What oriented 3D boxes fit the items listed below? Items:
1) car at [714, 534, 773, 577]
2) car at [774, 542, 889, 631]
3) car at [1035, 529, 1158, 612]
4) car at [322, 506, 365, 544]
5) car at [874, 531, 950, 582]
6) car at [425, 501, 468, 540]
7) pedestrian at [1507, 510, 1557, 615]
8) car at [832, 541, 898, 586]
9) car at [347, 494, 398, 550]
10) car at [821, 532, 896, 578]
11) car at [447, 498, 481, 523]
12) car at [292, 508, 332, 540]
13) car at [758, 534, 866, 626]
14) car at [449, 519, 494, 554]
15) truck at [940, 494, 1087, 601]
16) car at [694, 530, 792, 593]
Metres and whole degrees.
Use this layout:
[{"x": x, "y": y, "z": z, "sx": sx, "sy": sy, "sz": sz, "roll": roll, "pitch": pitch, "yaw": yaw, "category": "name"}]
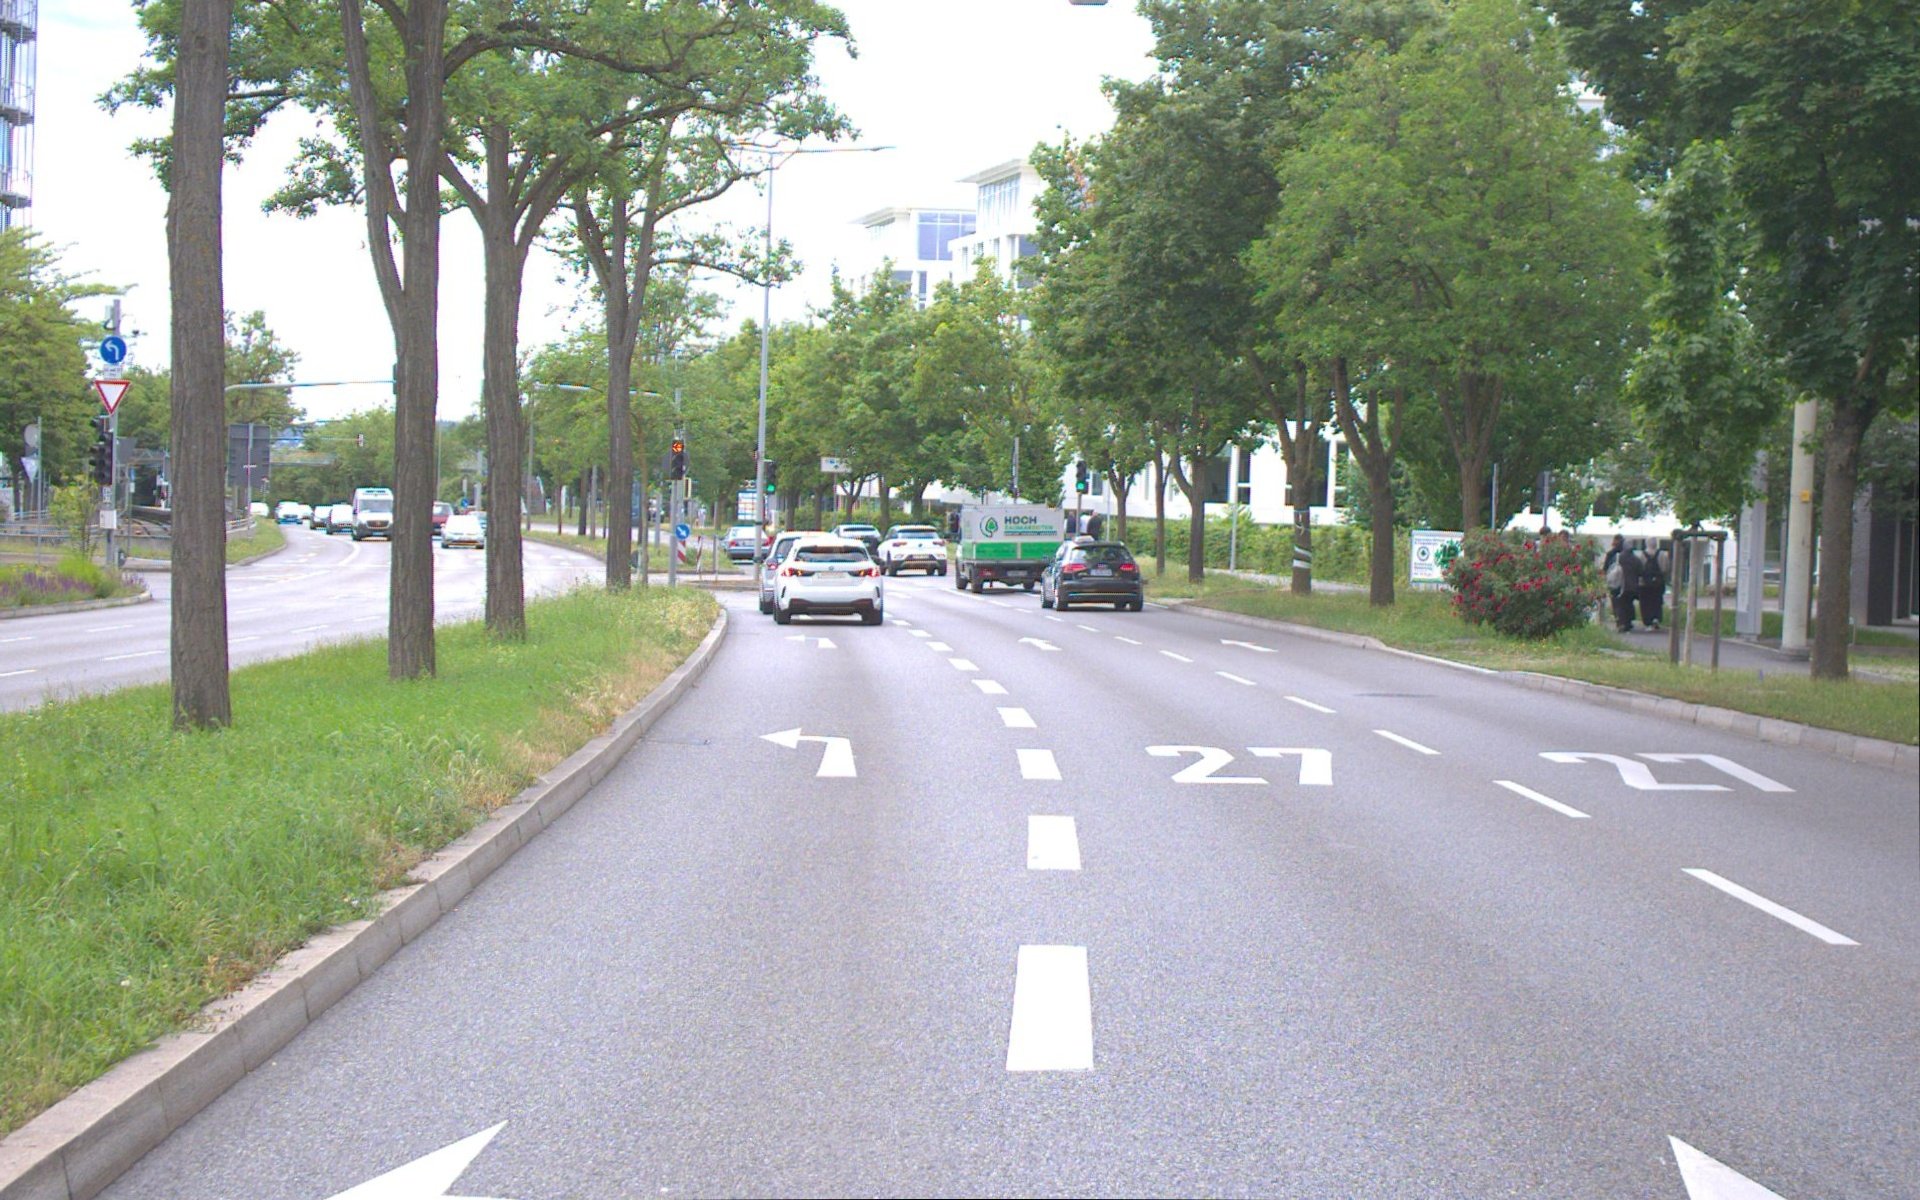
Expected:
[{"x": -7.982, "y": -1.652, "z": 126.501, "sx": 1.993, "sy": 1.485, "sz": 4.001, "roll": 2, "pitch": 1, "yaw": -6, "category": "car"}, {"x": -2.183, "y": -0.240, "z": 59.220, "sx": 1.863, "sy": 1.444, "sz": 4.000, "roll": 1, "pitch": 0, "yaw": -1, "category": "car"}, {"x": 2.753, "y": -0.608, "z": 70.030, "sx": 1.993, "sy": 1.590, "sz": 4.001, "roll": 1, "pitch": 1, "yaw": -5, "category": "car"}, {"x": -34.694, "y": -4.202, "z": 193.644, "sx": 1.993, "sy": 2.004, "sz": 4.325, "roll": 3, "pitch": 1, "yaw": -6, "category": "car"}, {"x": -1.515, "y": -1.363, "z": 106.359, "sx": 1.993, "sy": 1.503, "sz": 4.001, "roll": 1, "pitch": 1, "yaw": -6, "category": "car"}, {"x": -26.410, "y": -4.063, "z": 176.979, "sx": 1.935, "sy": 1.911, "sz": 4.974, "roll": 1, "pitch": 0, "yaw": -6, "category": "car"}, {"x": 9.905, "y": -0.658, "z": 59.556, "sx": 0.608, "sy": 1.769, "sz": 0.954, "roll": 1, "pitch": 3, "yaw": -3, "category": "pedestrian"}, {"x": -3.406, "y": -1.311, "z": 122.352, "sx": 1.993, "sy": 1.485, "sz": 4.001, "roll": 2, "pitch": 1, "yaw": -6, "category": "car"}, {"x": -29.267, "y": -3.887, "z": 171.476, "sx": 1.993, "sy": 2.625, "sz": 5.876, "roll": 3, "pitch": 1, "yaw": -6, "category": "car"}, {"x": -3.530, "y": -1.574, "z": 119.166, "sx": 1.993, "sy": 1.503, "sz": 4.001, "roll": 2, "pitch": 1, "yaw": -10, "category": "car"}, {"x": -34.763, "y": -6.298, "z": 241.015, "sx": 1.993, "sy": 1.612, "sz": 4.001, "roll": 3, "pitch": 1, "yaw": -3, "category": "car"}, {"x": -39.381, "y": -4.624, "z": 209.007, "sx": 1.993, "sy": 1.846, "sz": 4.325, "roll": 3, "pitch": 1, "yaw": -6, "category": "car"}, {"x": -2.855, "y": -0.385, "z": 66.325, "sx": 1.993, "sy": 1.666, "sz": 4.000, "roll": 1, "pitch": 0, "yaw": -2, "category": "car"}, {"x": -21.492, "y": -2.786, "z": 151.289, "sx": 1.752, "sy": 1.439, "sz": 4.135, "roll": 3, "pitch": 1, "yaw": -6, "category": "car"}, {"x": 1.277, "y": -1.296, "z": 86.014, "sx": 2.859, "sy": 2.511, "sz": 6.288, "roll": 1, "pitch": 0, "yaw": -6, "category": "truck"}, {"x": -5.379, "y": -0.946, "z": 85.657, "sx": 1.994, "sy": 1.503, "sz": 4.000, "roll": 1, "pitch": 0, "yaw": 2, "category": "car"}]
